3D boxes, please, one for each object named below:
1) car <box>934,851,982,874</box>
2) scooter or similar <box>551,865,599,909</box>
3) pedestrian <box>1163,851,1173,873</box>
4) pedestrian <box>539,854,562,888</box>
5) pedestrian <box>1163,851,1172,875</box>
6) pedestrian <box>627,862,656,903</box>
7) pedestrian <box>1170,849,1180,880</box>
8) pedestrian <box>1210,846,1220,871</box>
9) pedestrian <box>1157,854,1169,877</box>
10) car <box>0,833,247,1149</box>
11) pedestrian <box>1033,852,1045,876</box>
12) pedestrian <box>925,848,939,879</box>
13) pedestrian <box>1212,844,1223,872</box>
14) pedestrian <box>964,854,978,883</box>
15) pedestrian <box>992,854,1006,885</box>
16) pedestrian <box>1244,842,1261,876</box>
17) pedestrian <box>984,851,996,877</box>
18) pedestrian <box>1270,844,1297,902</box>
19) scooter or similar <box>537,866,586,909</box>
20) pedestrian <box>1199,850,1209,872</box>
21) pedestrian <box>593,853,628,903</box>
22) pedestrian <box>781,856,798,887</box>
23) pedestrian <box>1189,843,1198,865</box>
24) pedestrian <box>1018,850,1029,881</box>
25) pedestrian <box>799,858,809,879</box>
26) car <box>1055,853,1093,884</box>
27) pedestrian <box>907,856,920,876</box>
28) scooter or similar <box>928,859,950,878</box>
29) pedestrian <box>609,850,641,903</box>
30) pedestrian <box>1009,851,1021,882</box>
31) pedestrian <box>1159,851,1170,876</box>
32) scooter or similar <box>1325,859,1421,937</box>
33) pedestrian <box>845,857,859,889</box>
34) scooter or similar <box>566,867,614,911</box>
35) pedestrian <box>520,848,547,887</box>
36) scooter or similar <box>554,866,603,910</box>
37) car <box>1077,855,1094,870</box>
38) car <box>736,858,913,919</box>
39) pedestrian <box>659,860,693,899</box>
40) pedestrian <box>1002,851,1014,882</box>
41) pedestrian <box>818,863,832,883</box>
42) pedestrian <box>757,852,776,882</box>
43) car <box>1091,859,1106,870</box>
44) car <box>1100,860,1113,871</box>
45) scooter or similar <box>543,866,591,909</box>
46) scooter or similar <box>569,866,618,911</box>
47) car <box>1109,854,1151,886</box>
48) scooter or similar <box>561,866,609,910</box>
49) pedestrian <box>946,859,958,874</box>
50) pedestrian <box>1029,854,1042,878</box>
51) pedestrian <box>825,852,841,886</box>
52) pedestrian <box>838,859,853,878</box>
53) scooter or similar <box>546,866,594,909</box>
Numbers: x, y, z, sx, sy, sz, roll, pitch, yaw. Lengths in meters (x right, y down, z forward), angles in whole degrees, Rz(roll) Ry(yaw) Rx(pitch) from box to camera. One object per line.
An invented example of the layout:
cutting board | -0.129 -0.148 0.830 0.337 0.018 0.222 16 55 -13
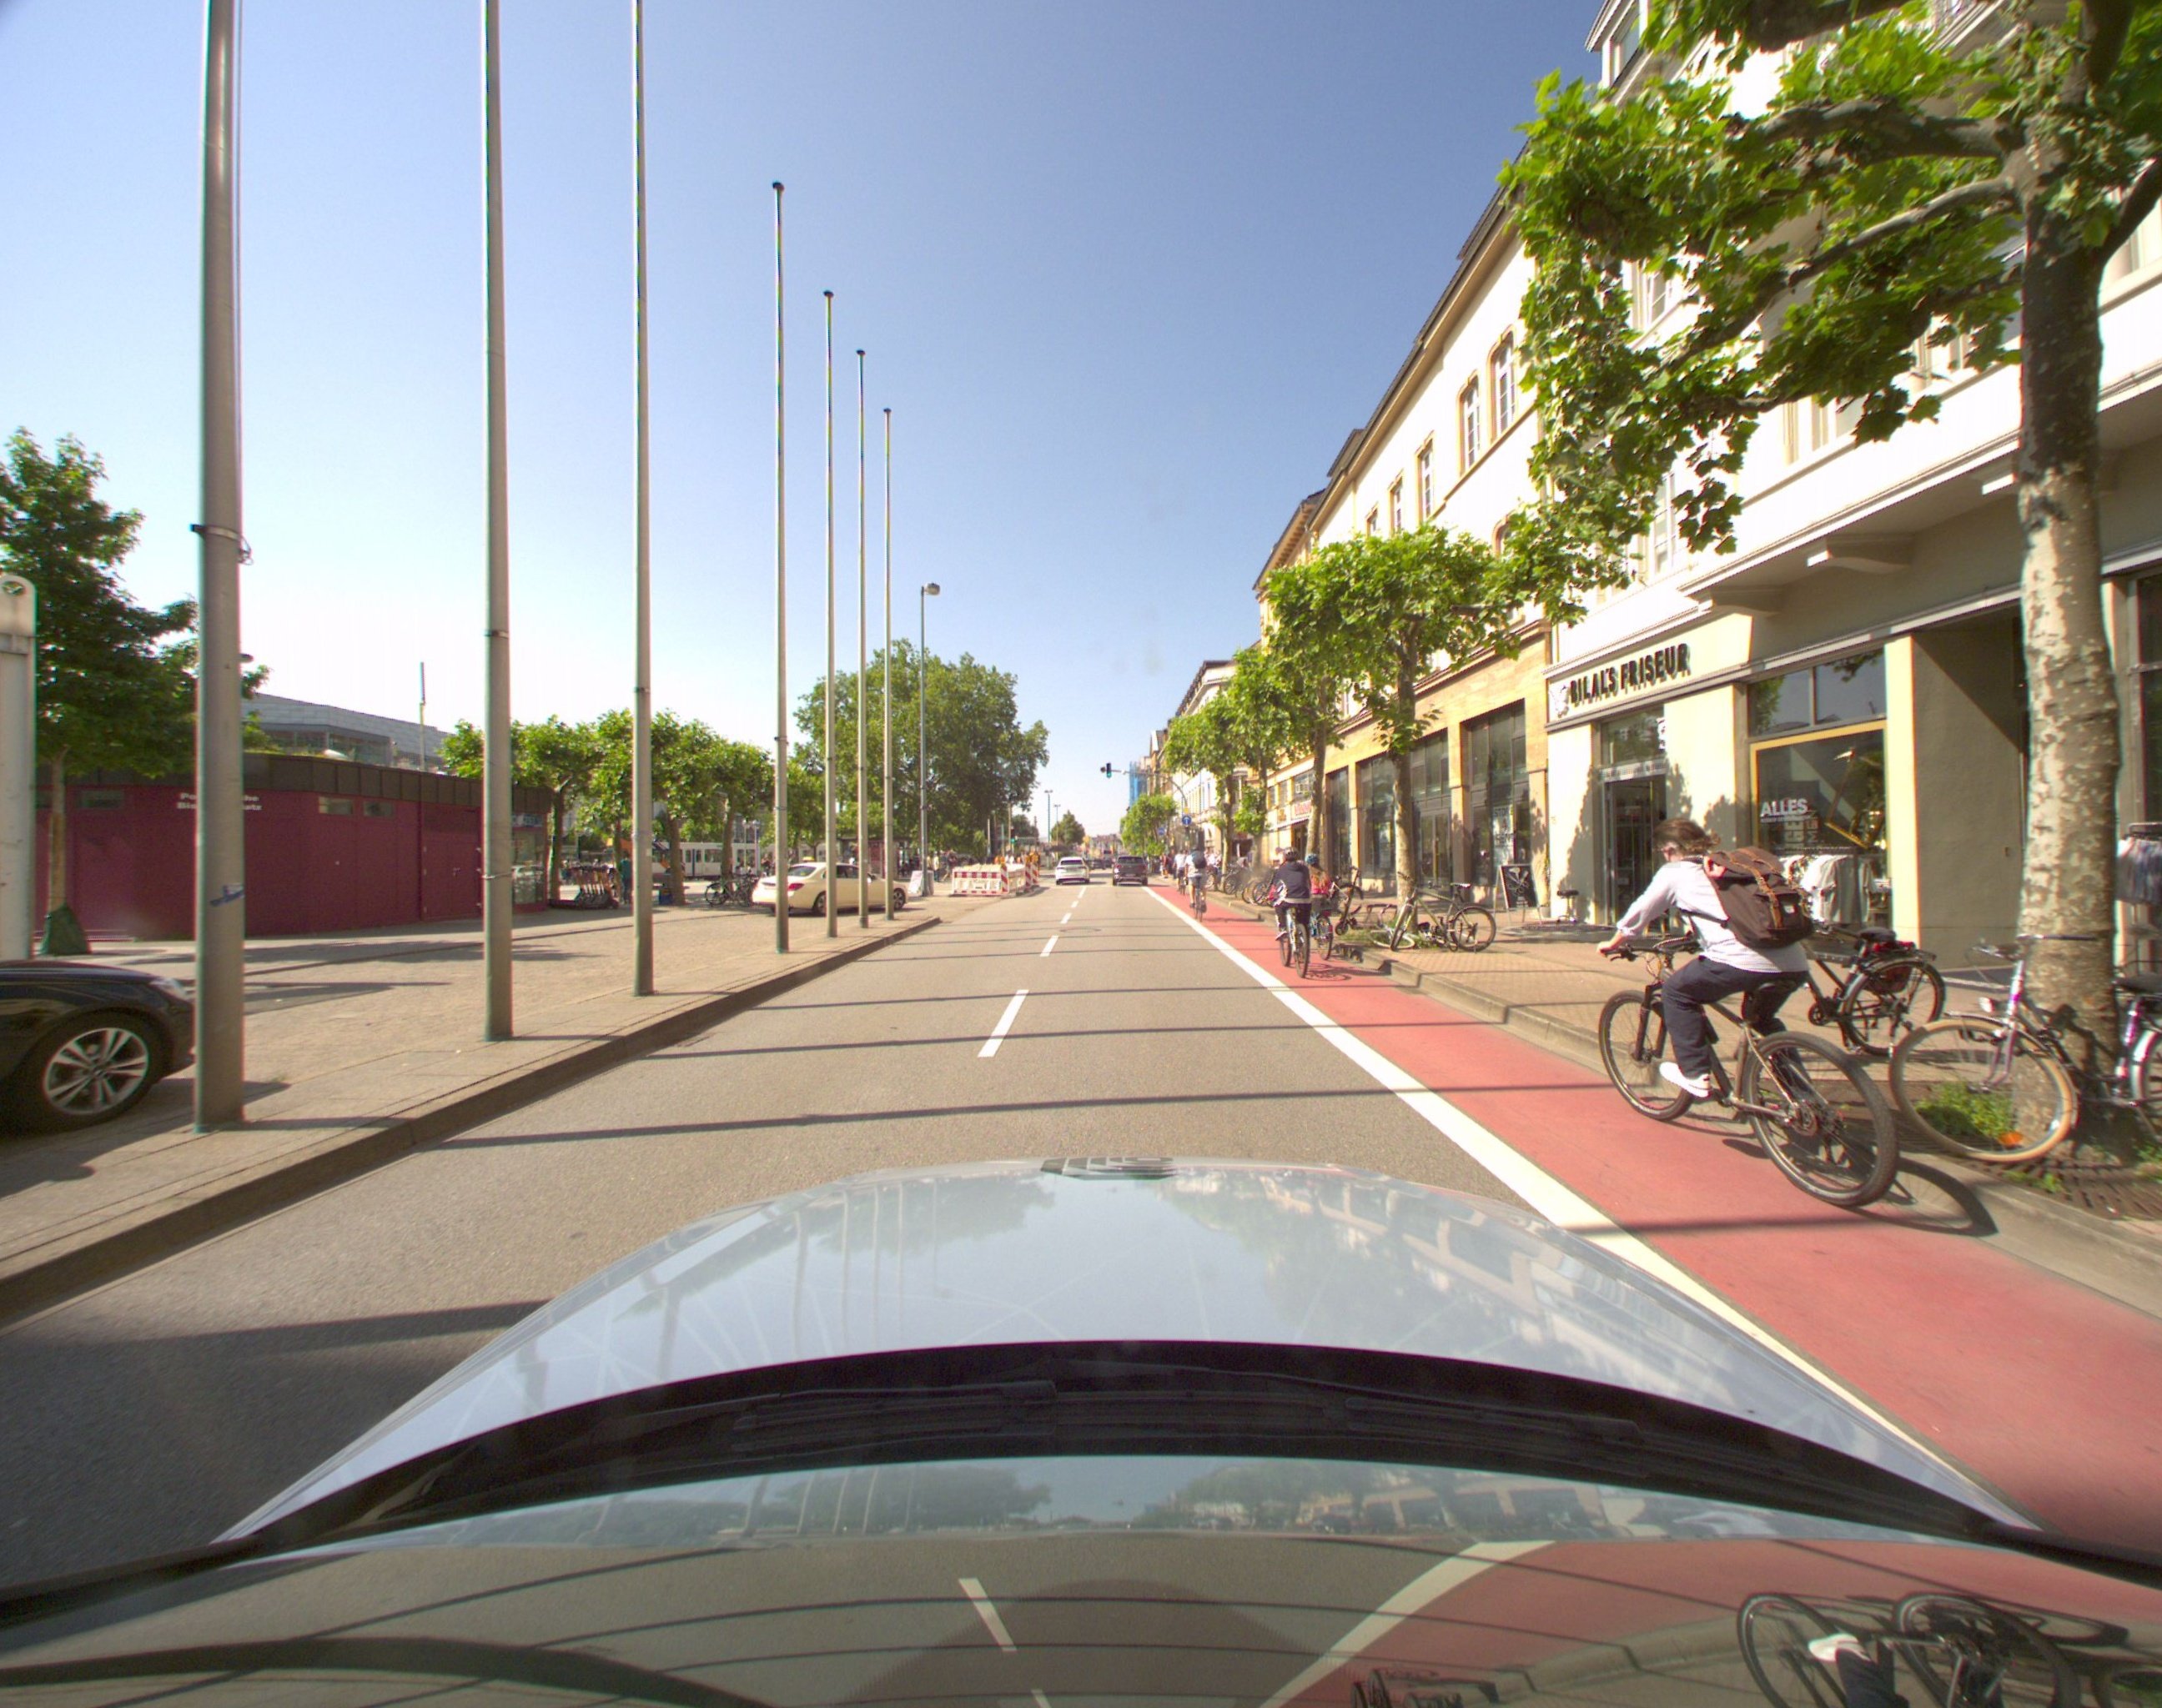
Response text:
car | -10.573 0.745 70.424 1.843 1.955 4.786 -1 -1 22
scooter or similar | -14.598 0.930 23.520 0.231 1.214 1.310 0 0 21
pedestrian | 6.748 0.620 62.880 0.581 1.673 0.605 -4 -1 -1
pedestrian | -28.008 0.887 43.017 0.799 1.749 0.605 1 -1 -4
pedestrian | 6.652 0.727 62.498 0.608 1.824 0.677 -1 -1 0
pedestrian | -14.377 0.917 26.650 0.672 1.309 0.683 0 0 -16
pedestrian | 5.812 0.655 50.556 0.520 1.898 0.642 -2 -1 4
pedestrian | 8.780 0.310 53.331 0.521 1.609 0.642 -2 -1 1
pedestrian | 5.691 0.787 56.319 0.608 1.515 0.677 -5 -1 -1
car | -6.363 0.702 2.966 1.755 1.600 4.710 -1 0 1
pedestrian | -3.333 0.802 64.079 0.626 1.834 0.735 -1 -1 31
pedestrian | -8.712 0.548 47.534 0.581 1.721 0.790 -1 4 3
pedestrian | 8.325 0.248 49.640 0.546 1.640 0.589 -2 -1 4
pedestrian | -7.060 0.907 52.227 0.627 1.859 0.690 -1 -1 22
pedestrian | -4.641 0.879 46.064 0.543 1.718 0.600 1 -1 -30
pedestrian | 9.131 0.279 43.366 0.655 1.790 1.233 -1 -2 1
pedestrian | -6.623 0.725 59.249 0.627 1.810 0.735 -1 -1 22
pedestrian | 5.769 0.530 23.245 0.612 1.612 0.745 0 0 2
scooter or similar | -15.243 0.968 23.923 0.262 1.214 1.310 0 0 21
pedestrian | 9.310 0.514 61.750 0.608 1.618 0.678 -1 1 0
pedestrian | -15.237 0.774 26.371 0.804 1.606 0.670 0 0 -12
pedestrian | -14.883 0.881 41.559 0.573 1.532 0.607 0 -1 7
pedestrian | 9.277 0.037 67.375 0.673 1.792 0.612 -1 -1 1
pedestrian | -3.522 0.705 49.858 0.529 1.919 0.560 -1 -1 3
pedestrian | -17.492 0.918 51.434 0.611 1.262 0.609 0 -1 -20
car | -0.330 0.773 44.295 1.838 1.560 4.002 -2 0 2
pedestrian | -12.665 0.904 61.547 0.627 1.478 0.735 -1 -1 22
scooter or similar | -10.771 1.064 61.788 1.264 1.421 1.045 -1 -1 32
pedestrian | -14.516 0.713 25.953 0.670 1.677 0.686 0 0 -7
pedestrian | -3.708 0.700 45.650 0.431 1.740 0.600 1 -1 -30
pedestrian | 6.037 0.704 58.828 0.608 1.739 0.677 -5 -1 -1
scooter or similar | 4.956 0.727 13.917 1.465 1.274 0.672 1 -1 12
pedestrian | -12.770 1.057 45.424 0.573 1.739 0.607 0 -1 7
scooter or similar | -13.962 0.977 23.177 0.231 1.214 1.310 0 0 21
pedestrian | -25.402 0.640 37.795 0.800 1.799 0.605 1 -3 -5
scooter or similar | -14.395 0.965 23.371 0.231 1.214 1.310 0 0 21
car | 0.490 0.950 90.235 1.839 1.560 4.000 -1 0 1
car | -7.211 0.928 23.461 1.873 1.542 4.891 0 -1 29
pedestrian | -14.442 0.895 29.061 0.667 1.381 0.900 0 0 10
pedestrian | -4.179 0.722 46.834 0.536 1.779 0.607 0 -1 7
pedestrian | -16.365 1.196 52.045 0.605 1.262 0.615 -1 -1 37
pedestrian | -18.318 0.750 47.460 0.598 1.749 0.809 0 -1 33
car | 2.298 1.431 107.845 1.839 1.413 4.000 -1 0 1
car | 3.977 1.751 127.735 1.840 1.668 3.996 1 0 -3
scooter or similar | -15.012 0.965 23.817 0.231 1.214 1.310 0 0 21
scooter or similar | -13.758 0.954 23.025 0.231 1.214 1.310 0 0 21
car | 2.442 0.779 41.701 1.840 1.559 3.998 -1 0 -1
scooter or similar | -14.169 0.956 23.289 0.231 1.214 1.310 0 0 21
pedestrian | -9.620 0.935 60.879 0.627 1.144 0.669 -1 -1 22
pedestrian | -2.991 0.780 53.554 0.627 1.595 0.690 -1 -1 22
pedestrian | -13.864 0.847 45.499 0.666 1.879 0.625 1 -1 -32
pedestrian | -15.200 0.932 52.573 0.605 1.262 0.615 -1 -1 28
scooter or similar | -14.821 0.957 23.650 0.231 1.214 1.310 0 0 21
